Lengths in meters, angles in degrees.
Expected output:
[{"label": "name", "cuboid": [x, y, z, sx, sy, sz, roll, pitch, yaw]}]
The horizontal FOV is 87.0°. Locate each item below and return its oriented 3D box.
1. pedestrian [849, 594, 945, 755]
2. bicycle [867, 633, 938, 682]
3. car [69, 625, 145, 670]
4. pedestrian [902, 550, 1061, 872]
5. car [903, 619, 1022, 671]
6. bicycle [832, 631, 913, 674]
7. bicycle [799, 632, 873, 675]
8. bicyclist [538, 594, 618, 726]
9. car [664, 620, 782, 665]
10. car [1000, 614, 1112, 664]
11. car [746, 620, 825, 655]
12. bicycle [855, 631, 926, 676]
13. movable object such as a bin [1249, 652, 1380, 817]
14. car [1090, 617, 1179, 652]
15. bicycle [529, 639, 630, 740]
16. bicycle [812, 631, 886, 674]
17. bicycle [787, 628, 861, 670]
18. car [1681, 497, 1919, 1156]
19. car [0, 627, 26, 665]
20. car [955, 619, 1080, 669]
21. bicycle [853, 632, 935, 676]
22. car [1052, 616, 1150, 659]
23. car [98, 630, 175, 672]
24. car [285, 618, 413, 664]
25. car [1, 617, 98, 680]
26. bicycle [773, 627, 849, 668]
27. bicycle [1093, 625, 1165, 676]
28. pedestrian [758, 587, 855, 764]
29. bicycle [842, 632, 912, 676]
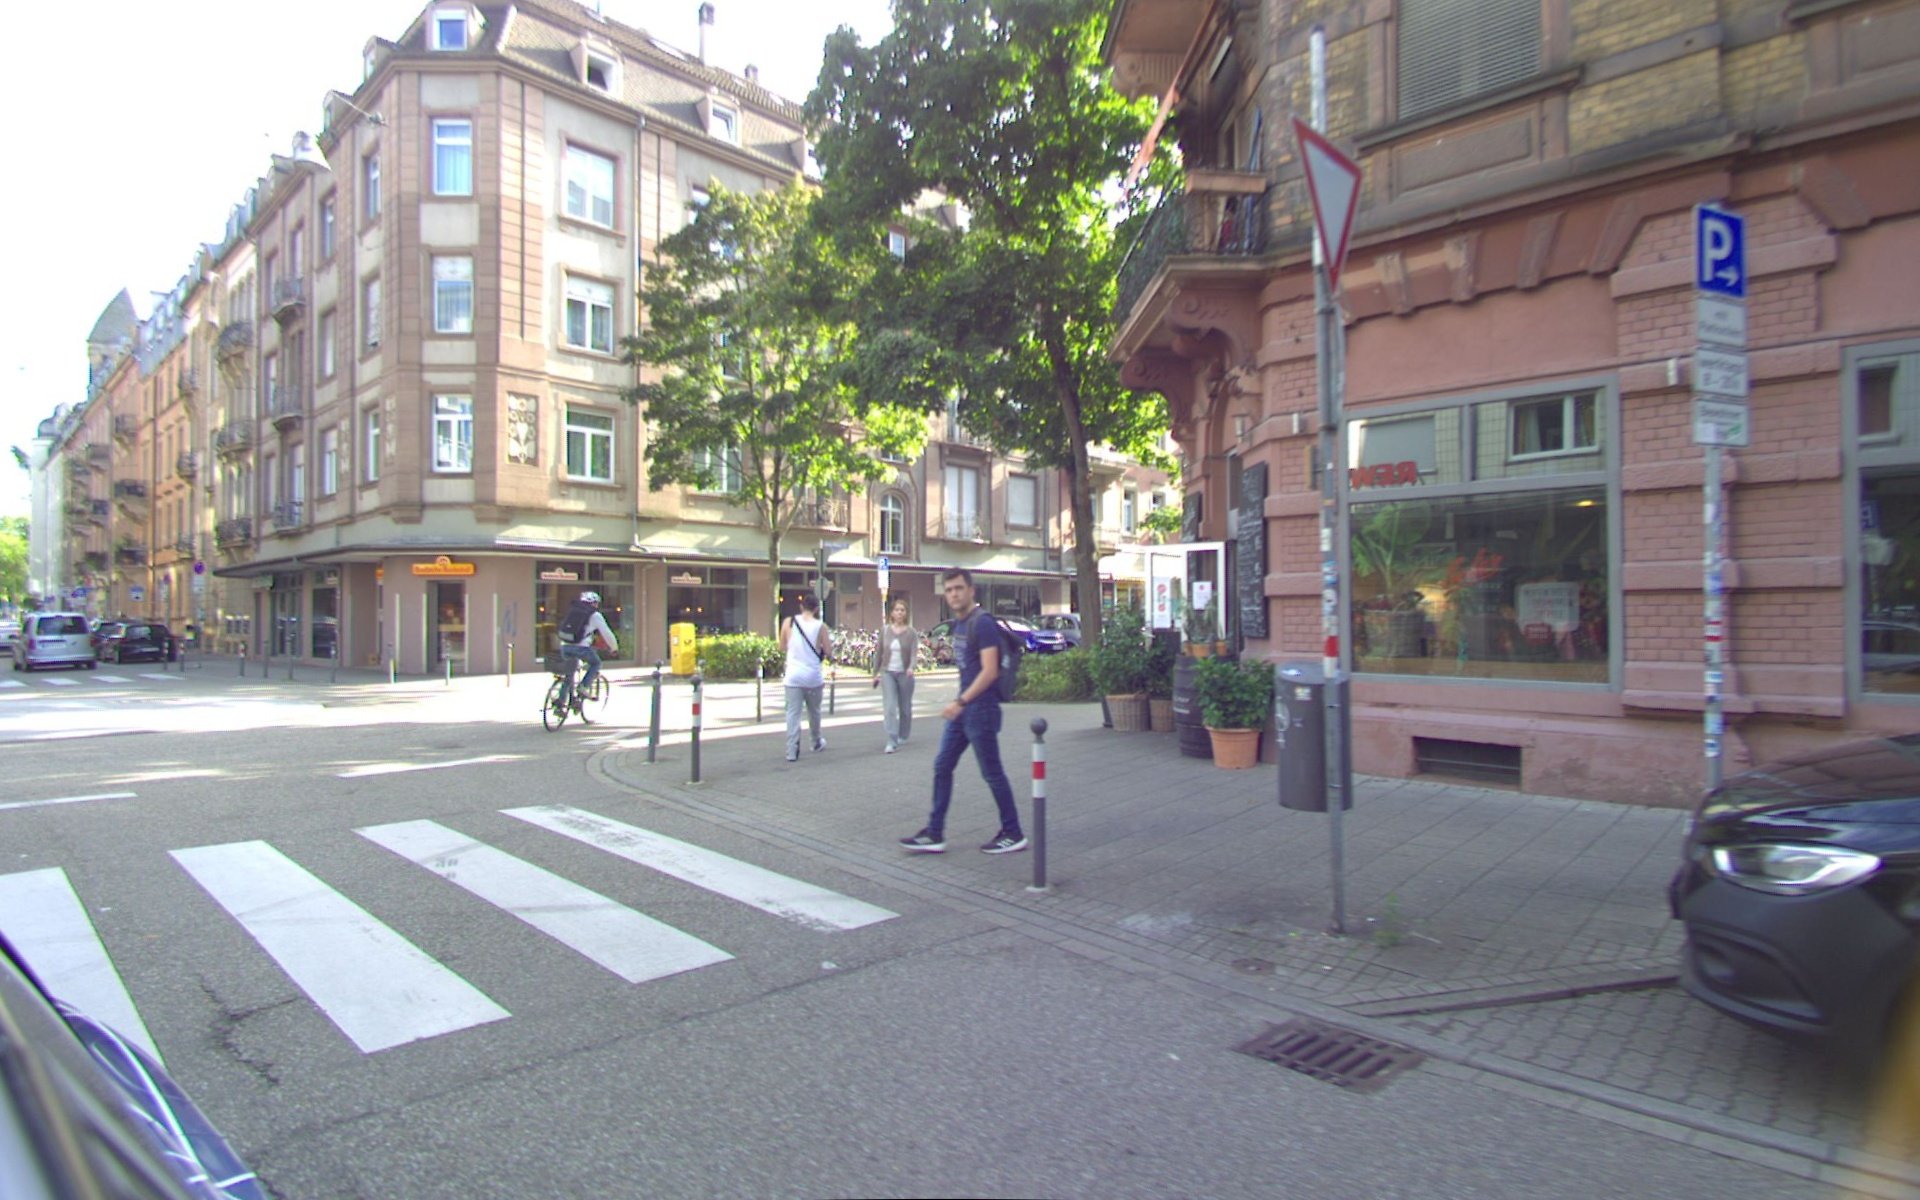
[{"label": "pedestrian", "cuboid": [-0.647, 0.760, 10.511, 0.611, 1.590, 0.803, -5, -3, 24]}, {"label": "bicycle", "cuboid": [-1.527, 1.523, 27.345, 0.478, 1.234, 2.262, -2, -2, 41]}, {"label": "car", "cuboid": [-33.560, 1.802, 39.787, 4.400, 1.596, 1.836, -1, 0, 44]}, {"label": "pedestrian", "cuboid": [0.110, 0.648, 6.289, 0.844, 1.854, 0.679, -2, 0, -5]}, {"label": "car", "cuboid": [0.030, 1.374, 31.722, 3.700, 1.487, 1.554, -2, 0, 45]}, {"label": "bicycle", "cuboid": [-2.498, 1.503, 29.282, 0.708, 1.110, 2.477, -3, -2, 43]}, {"label": "bicycle", "cuboid": [-3.497, 1.499, 28.843, 0.478, 1.143, 2.398, -2, -2, 41]}, {"label": "bicyclist", "cuboid": [-5.081, 0.786, 13.526, 0.692, 1.690, 1.113, 0, -2, -4]}, {"label": "car", "cuboid": [-8.271, 1.459, 35.157, 3.990, 1.441, 1.746, -2, 0, 34]}, {"label": "car", "cuboid": [3.302, 1.331, 35.126, 3.700, 1.608, 1.554, -2, 0, 45]}, {"label": "car", "cuboid": [-8.637, 1.831, 50.268, 3.580, 1.578, 1.580, -1, 0, -45]}, {"label": "bicycle", "cuboid": [-1.882, 1.448, 27.671, 0.478, 1.166, 2.260, -2, -2, 41]}, {"label": "movable object such as a bin", "cuboid": [1.707, 0.622, 4.874, 0.475, 0.719, 0.379, -2, -1, 39]}, {"label": "car", "cuboid": [6.950, 1.366, 40.411, 3.340, 1.342, 1.356, -2, -3, 45]}, {"label": "bicycle", "cuboid": [-5.087, 1.155, 13.668, 0.692, 1.229, 2.118, 0, -2, -4]}, {"label": "bicycle", "cuboid": [-3.106, 1.464, 28.501, 0.478, 1.143, 2.398, -2, -2, 41]}, {"label": "bicycle", "cuboid": [-3.901, 1.389, 29.203, 0.478, 1.143, 2.398, -2, -2, 41]}, {"label": "car", "cuboid": [4.419, 0.550, 2.235, 4.405, 1.787, 1.741, -2, 0, 42]}, {"label": "car", "cuboid": [-43.463, 2.040, 45.489, 1.971, 1.647, 4.846, 1, -2, -45]}, {"label": "car", "cuboid": [1.820, 1.412, 33.126, 4.076, 1.487, 1.554, -2, 0, 45]}, {"label": "bicycle", "cuboid": [-1.843, 1.517, 28.548, 0.651, 1.110, 2.477, -3, -2, 45]}, {"label": "car", "cuboid": [5.074, 1.342, 36.666, 3.340, 1.454, 1.357, -2, 0, 45]}, {"label": "car", "cuboid": [-29.672, 1.802, 36.440, 3.830, 1.379, 1.700, -2, 0, 44]}, {"label": "car", "cuboid": [-24.588, 1.617, 40.812, 1.995, 1.633, 3.953, -2, 0, 35]}, {"label": "car", "cuboid": [-29.129, 1.547, 32.340, 4.329, 1.804, 1.810, -3, 0, 42]}, {"label": "bicycle", "cuboid": [-4.333, 1.366, 29.583, 0.579, 1.143, 2.398, -2, -2, 41]}, {"label": "bicycle", "cuboid": [3.707, 1.076, 22.070, 0.590, 1.038, 2.114, -4, -3, 38]}, {"label": "pedestrian", "cuboid": [-1.572, 0.721, 10.254, 0.790, 1.683, 1.026, 0, -1, -19]}, {"label": "bicycle", "cuboid": [-2.280, 1.466, 28.065, 0.478, 1.143, 2.233, -2, -2, 41]}]
